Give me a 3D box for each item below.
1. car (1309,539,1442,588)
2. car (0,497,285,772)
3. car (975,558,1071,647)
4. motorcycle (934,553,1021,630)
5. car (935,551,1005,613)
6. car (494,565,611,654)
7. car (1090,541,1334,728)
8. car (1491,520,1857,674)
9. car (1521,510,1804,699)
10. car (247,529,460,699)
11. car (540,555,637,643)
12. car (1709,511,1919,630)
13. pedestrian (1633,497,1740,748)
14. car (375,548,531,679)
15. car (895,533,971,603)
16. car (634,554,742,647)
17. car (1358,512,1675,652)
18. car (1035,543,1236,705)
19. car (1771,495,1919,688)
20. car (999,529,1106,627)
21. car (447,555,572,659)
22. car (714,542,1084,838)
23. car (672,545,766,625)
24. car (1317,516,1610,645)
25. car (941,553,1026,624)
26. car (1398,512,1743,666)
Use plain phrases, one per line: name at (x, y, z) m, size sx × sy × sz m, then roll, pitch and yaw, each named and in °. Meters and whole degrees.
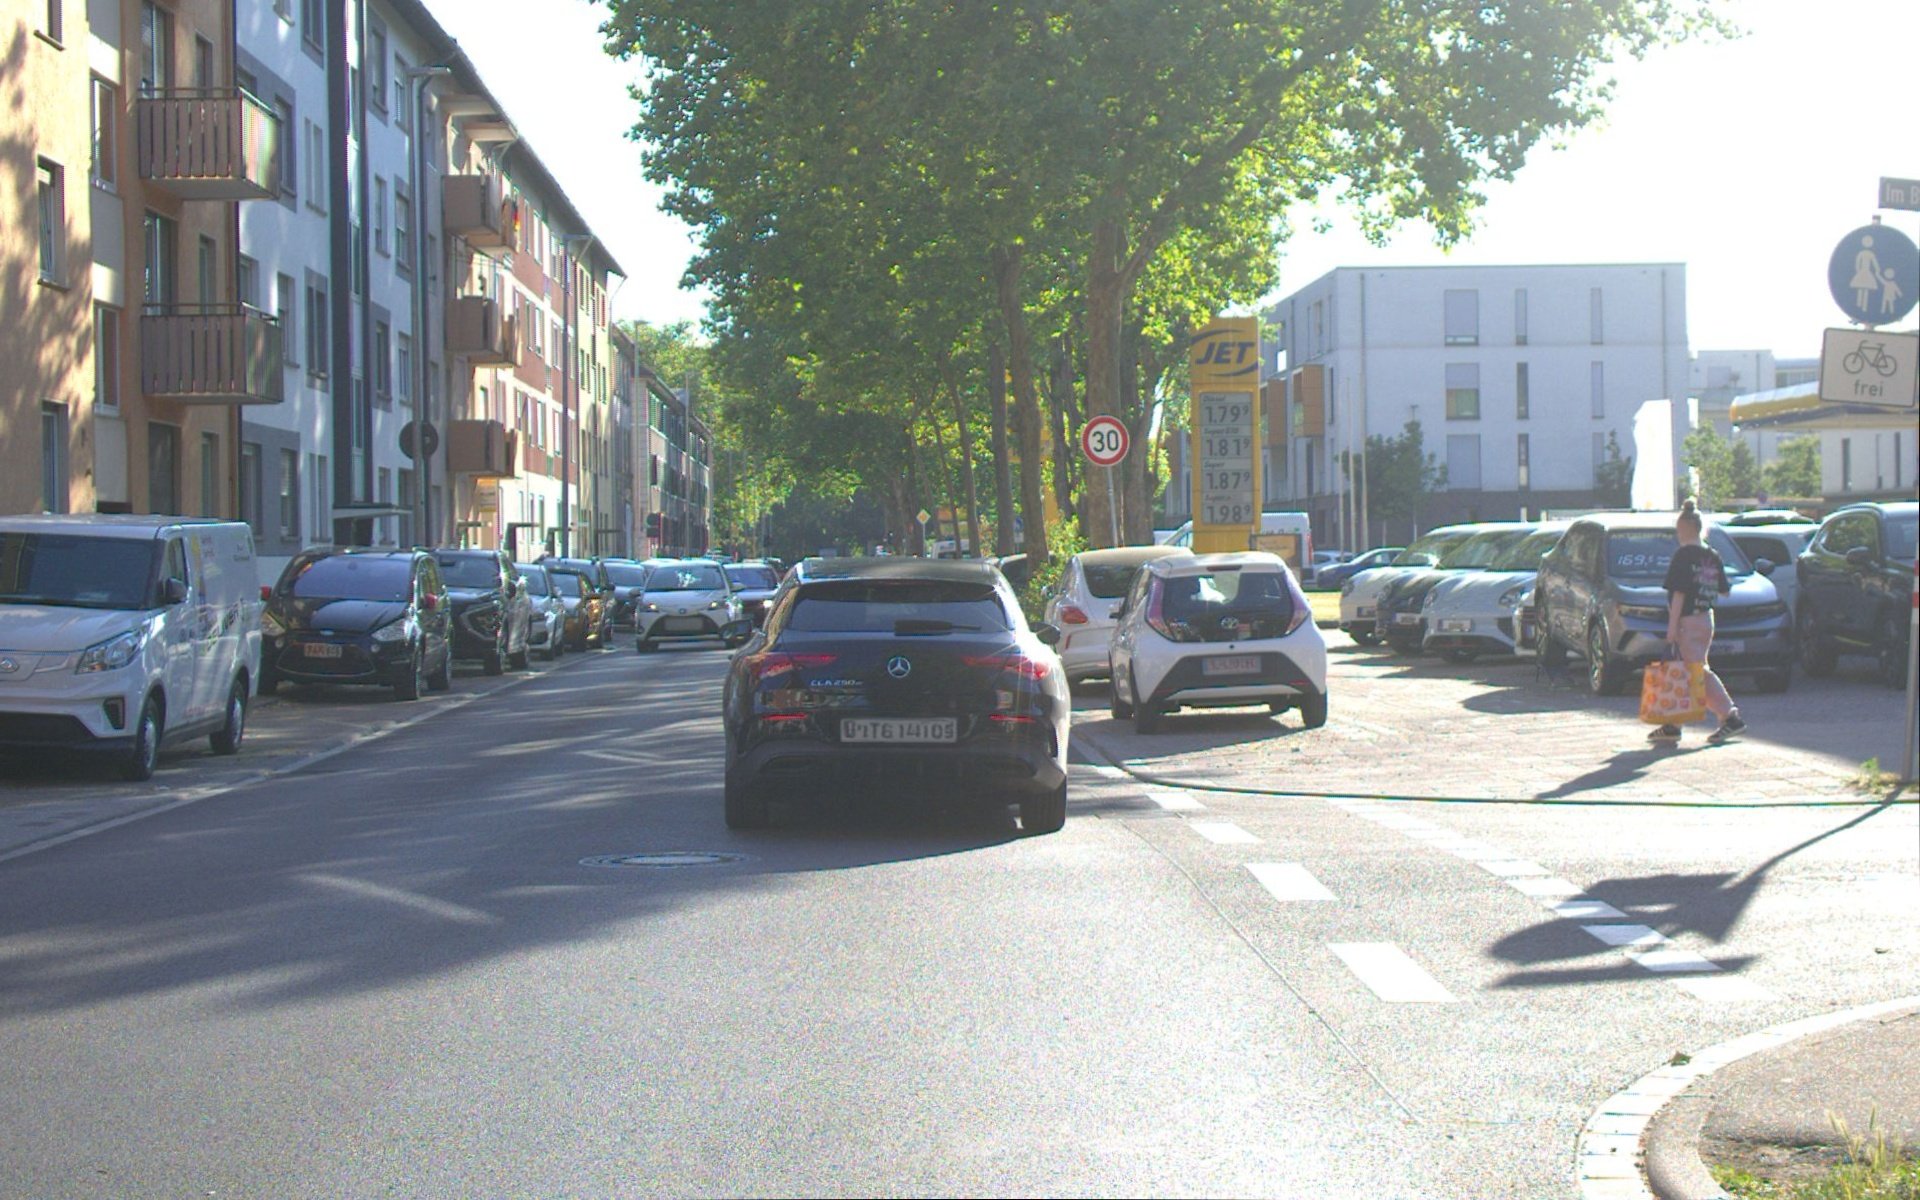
car at (13.387, -1.170, 110.885) m, size 3.986 × 1.524 × 1.807 m, roll 0°, pitch -1°, yaw -3°
car at (-6.586, 0.198, 26.387) m, size 1.734 × 1.900 × 5.209 m, roll 0°, pitch 1°, yaw 1°
car at (1.151, 0.041, 64.267) m, size 1.559 × 1.590 × 3.601 m, roll 1°, pitch 0°, yaw -2°
motorcycle at (0.363, -0.164, 70.491) m, size 1.641 × 1.552 × 0.612 m, roll 1°, pitch 0°, yaw -23°
car at (0.239, -0.470, 89.780) m, size 1.633 × 1.552 × 3.601 m, roll 1°, pitch 0°, yaw -2°
car at (-7.020, 0.142, 59.487) m, size 1.596 × 1.429 × 4.217 m, roll 1°, pitch 1°, yaw -1°
car at (2.147, 0.274, 30.205) m, size 1.635 × 1.463 × 4.021 m, roll -2°, pitch 0°, yaw -2°
car at (7.718, -0.059, 37.055) m, size 3.807 × 1.540 × 1.662 m, roll -2°, pitch 1°, yaw -34°
car at (6.637, 0.005, 32.908) m, size 1.752 × 1.664 × 4.158 m, roll -1°, pitch 1°, yaw -1°
car at (-6.759, 0.109, 38.686) m, size 1.745 × 1.781 × 4.550 m, roll 1°, pitch 1°, yaw -2°
car at (-7.175, -0.047, 66.584) m, size 1.596 × 1.624 × 3.838 m, roll 1°, pitch 1°, yaw -2°
car at (12.205, -0.430, 47.141) m, size 3.808 × 1.506 × 1.643 m, roll -3°, pitch 2°, yaw -36°
pedestrian at (5.074, 0.149, 23.987) m, size 0.692 × 1.717 × 0.721 m, roll -1°, pitch 1°, yaw 13°
car at (-6.745, 0.141, 46.102) m, size 1.596 × 1.635 × 4.413 m, roll 1°, pitch 1°, yaw -2°
car at (-0.837, -0.940, 102.965) m, size 1.993 × 2.007 × 4.000 m, roll 0°, pitch -1°, yaw -5°
car at (-4.639, -0.013, 59.022) m, size 1.639 × 1.518 × 3.934 m, roll 0°, pitch 1°, yaw -1°
car at (6.945, -0.246, 42.764) m, size 3.808 × 1.573 × 1.741 m, roll -3°, pitch 2°, yaw -38°
car at (1.823, 0.228, 37.035) m, size 1.810 × 1.533 × 4.583 m, roll -3°, pitch 0°, yaw 0°
car at (9.334, -0.130, 33.010) m, size 1.825 × 1.726 × 4.369 m, roll -1°, pitch 1°, yaw -3°
car at (1.538, -0.380, 58.390) m, size 1.559 × 1.590 × 3.601 m, roll 1°, pitch 0°, yaw -2°
car at (-6.940, 0.075, 53.275) m, size 1.547 × 1.518 × 4.005 m, roll 1°, pitch 1°, yaw -2°
car at (-0.235, 0.416, 19.042) m, size 1.744 × 1.438 × 3.968 m, roll 1°, pitch 1°, yaw 3°
car at (-4.917, -0.330, 70.621) m, size 1.663 × 1.518 × 4.412 m, roll -2°, pitch 1°, yaw -1°
car at (6.817, -0.279, 46.396) m, size 3.808 × 1.573 × 1.746 m, roll -3°, pitch 2°, yaw -38°
car at (0.506, -0.270, 77.724) m, size 1.722 × 1.552 × 3.601 m, roll 1°, pitch 0°, yaw -2°
car at (7.067, -0.148, 39.691) m, size 3.808 × 1.604 × 1.741 m, roll -3°, pitch 2°, yaw -36°
